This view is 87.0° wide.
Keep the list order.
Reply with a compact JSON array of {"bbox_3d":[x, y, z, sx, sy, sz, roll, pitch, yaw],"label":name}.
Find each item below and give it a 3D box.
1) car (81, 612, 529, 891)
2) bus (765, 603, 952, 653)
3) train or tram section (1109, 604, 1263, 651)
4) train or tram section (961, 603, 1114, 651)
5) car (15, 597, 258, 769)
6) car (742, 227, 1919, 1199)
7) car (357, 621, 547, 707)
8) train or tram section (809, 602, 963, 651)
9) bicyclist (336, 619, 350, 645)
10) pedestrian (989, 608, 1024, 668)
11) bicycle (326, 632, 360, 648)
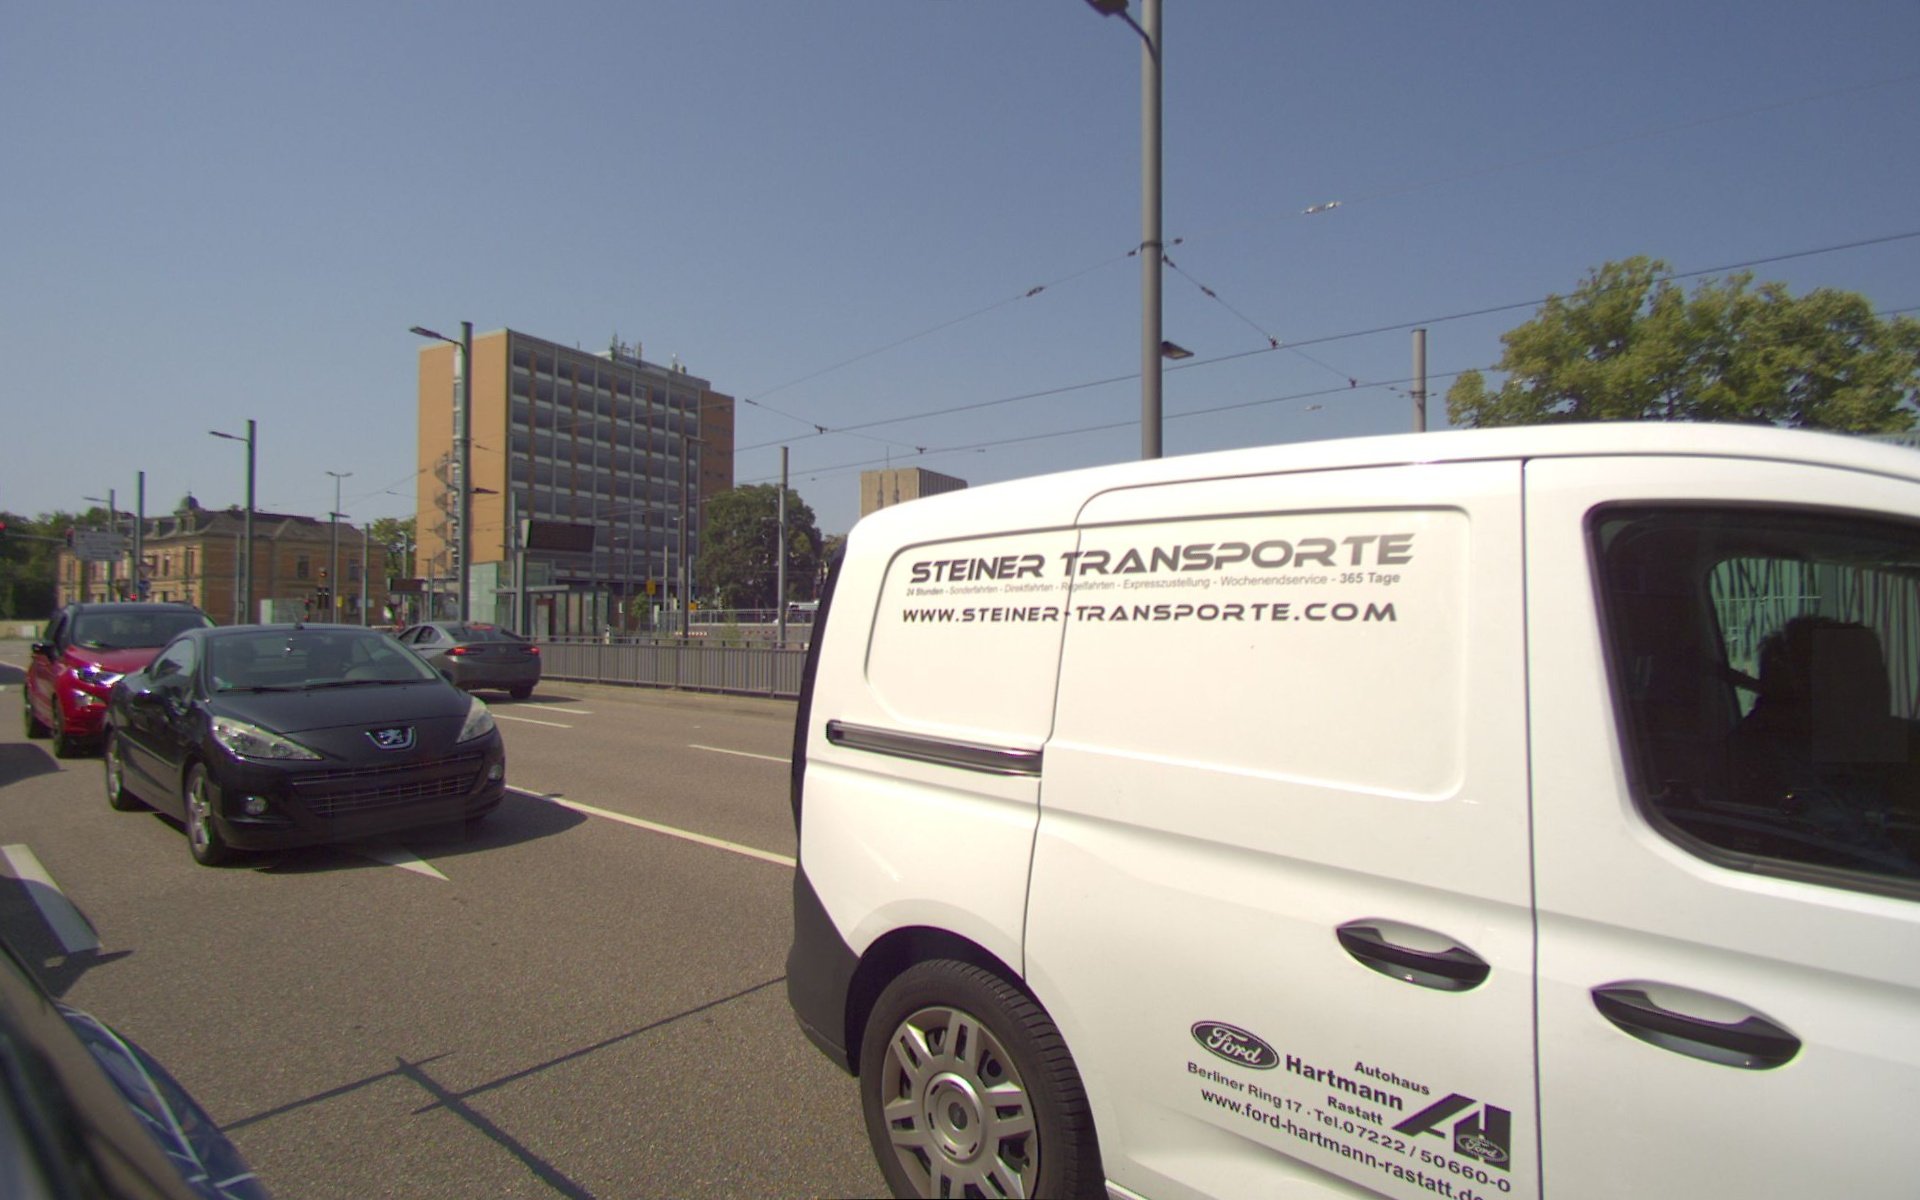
[{"bbox_3d":[-4.748,0.822,7.121,3.799,1.424,1.671,-1,-1,41],"label":"car"},{"bbox_3d":[-7.316,1.991,73.631,13.205,3.319,3.354,-1,0,-4],"label":"bus"},{"bbox_3d":[18.460,2.281,82.818,12.180,3.794,2.002,0,-2,-4],"label":"train or tram section"},{"bbox_3d":[6.243,2.185,81.916,12.180,3.794,2.002,0,-2,-4],"label":"train or tram section"},{"bbox_3d":[-9.521,0.821,11.586,3.967,1.633,1.612,-1,-1,43],"label":"car"},{"bbox_3d":[1.592,0.496,1.866,4.237,1.834,1.729,-1,-1,41],"label":"car"},{"bbox_3d":[-9.768,1.161,19.294,4.573,1.446,1.727,-1,-4,43],"label":"car"},{"bbox_3d":[-5.912,2.146,81.014,12.180,3.794,2.002,0,-2,-4],"label":"train or tram section"},{"bbox_3d":[-46.465,2.387,76.191,0.845,1.916,0.666,-1,-1,-28],"label":"bicyclist"},{"bbox_3d":[1.409,1.143,30.697,0.761,1.801,0.735,-2,-3,42],"label":"pedestrian"},{"bbox_3d":[-46.424,3.007,76.201,2.149,1.109,0.666,-1,0,-28],"label":"bicycle"}]
